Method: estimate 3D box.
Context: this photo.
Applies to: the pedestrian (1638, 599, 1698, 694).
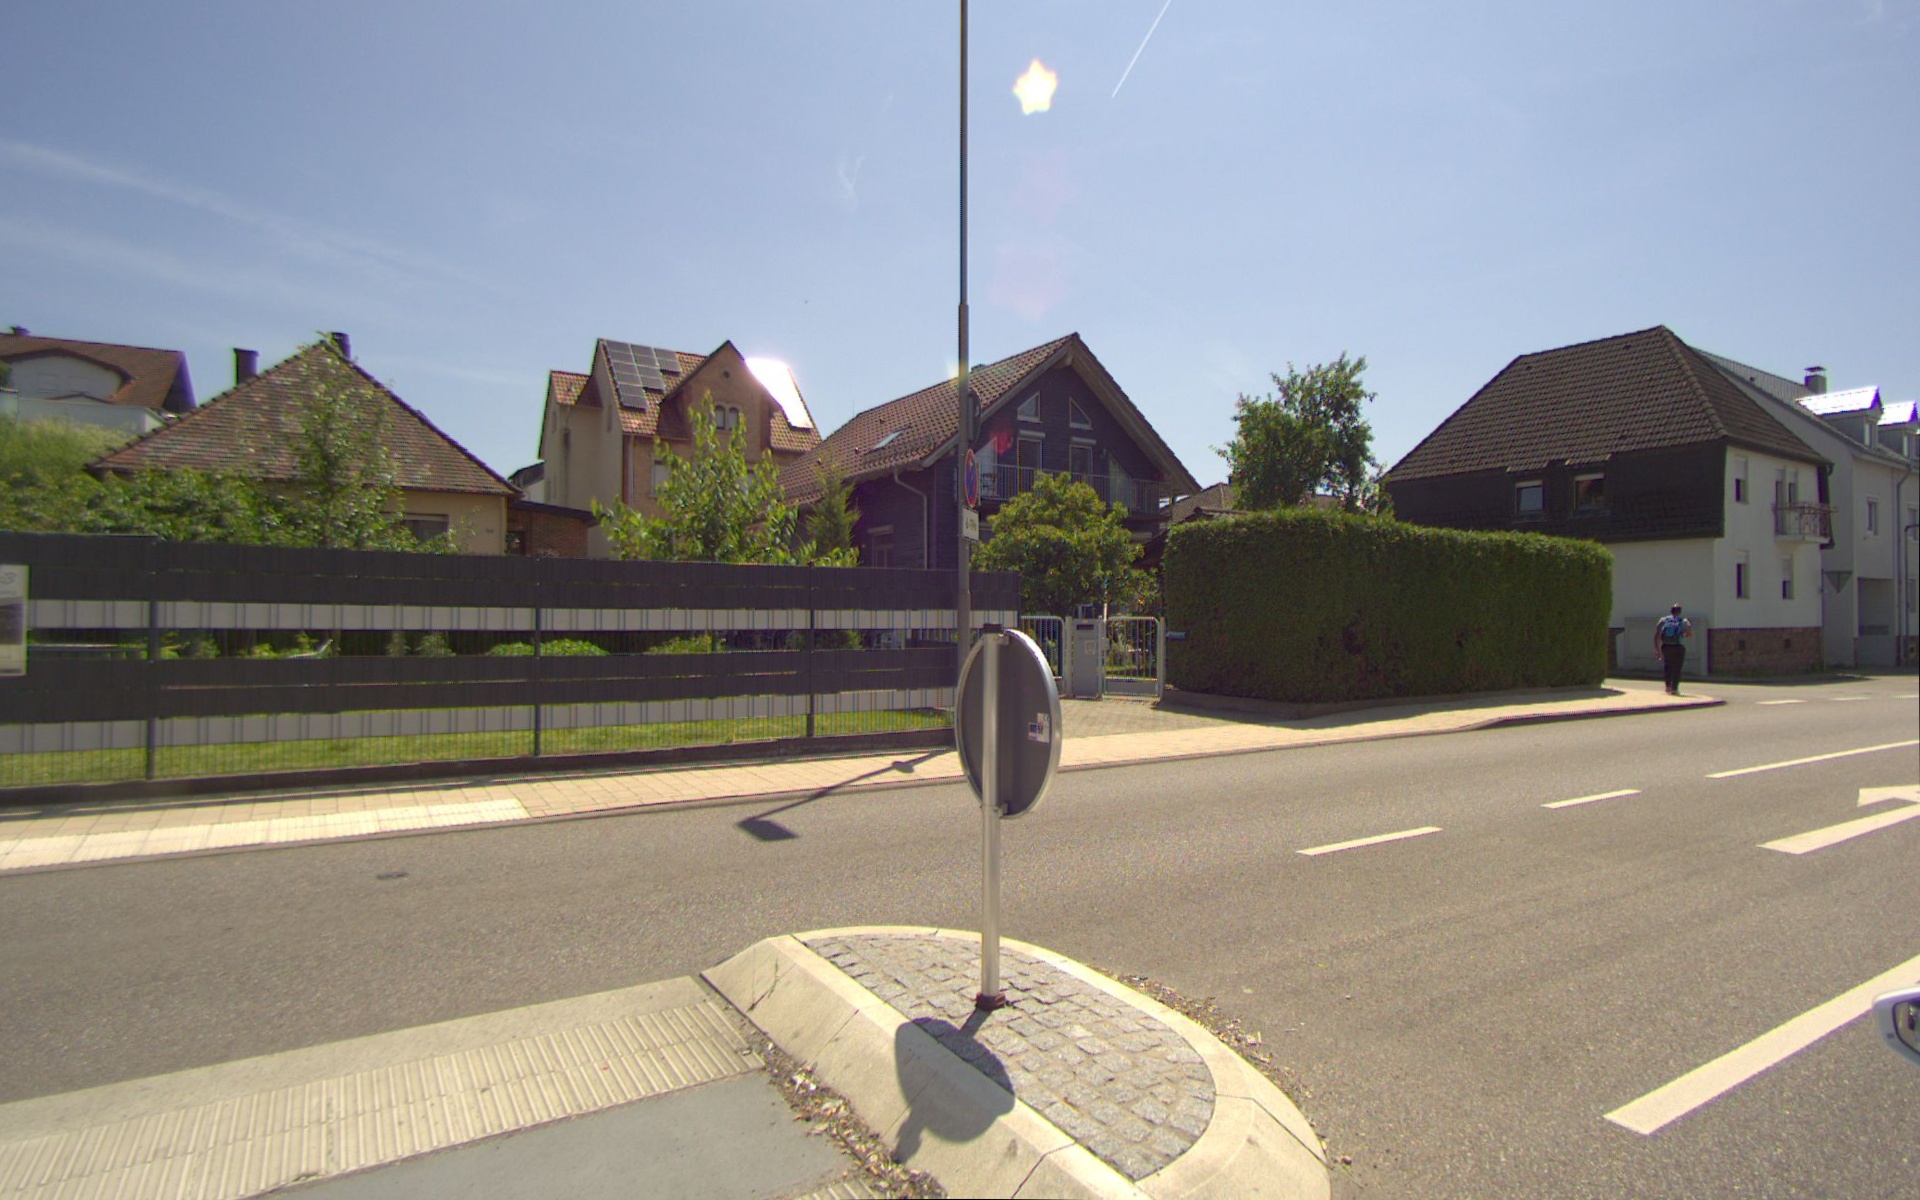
[{"bbox_3d":[14.190,0.923,20.126,0.890,1.847,0.707,2,0,-37],"label":"pedestrian"}]
